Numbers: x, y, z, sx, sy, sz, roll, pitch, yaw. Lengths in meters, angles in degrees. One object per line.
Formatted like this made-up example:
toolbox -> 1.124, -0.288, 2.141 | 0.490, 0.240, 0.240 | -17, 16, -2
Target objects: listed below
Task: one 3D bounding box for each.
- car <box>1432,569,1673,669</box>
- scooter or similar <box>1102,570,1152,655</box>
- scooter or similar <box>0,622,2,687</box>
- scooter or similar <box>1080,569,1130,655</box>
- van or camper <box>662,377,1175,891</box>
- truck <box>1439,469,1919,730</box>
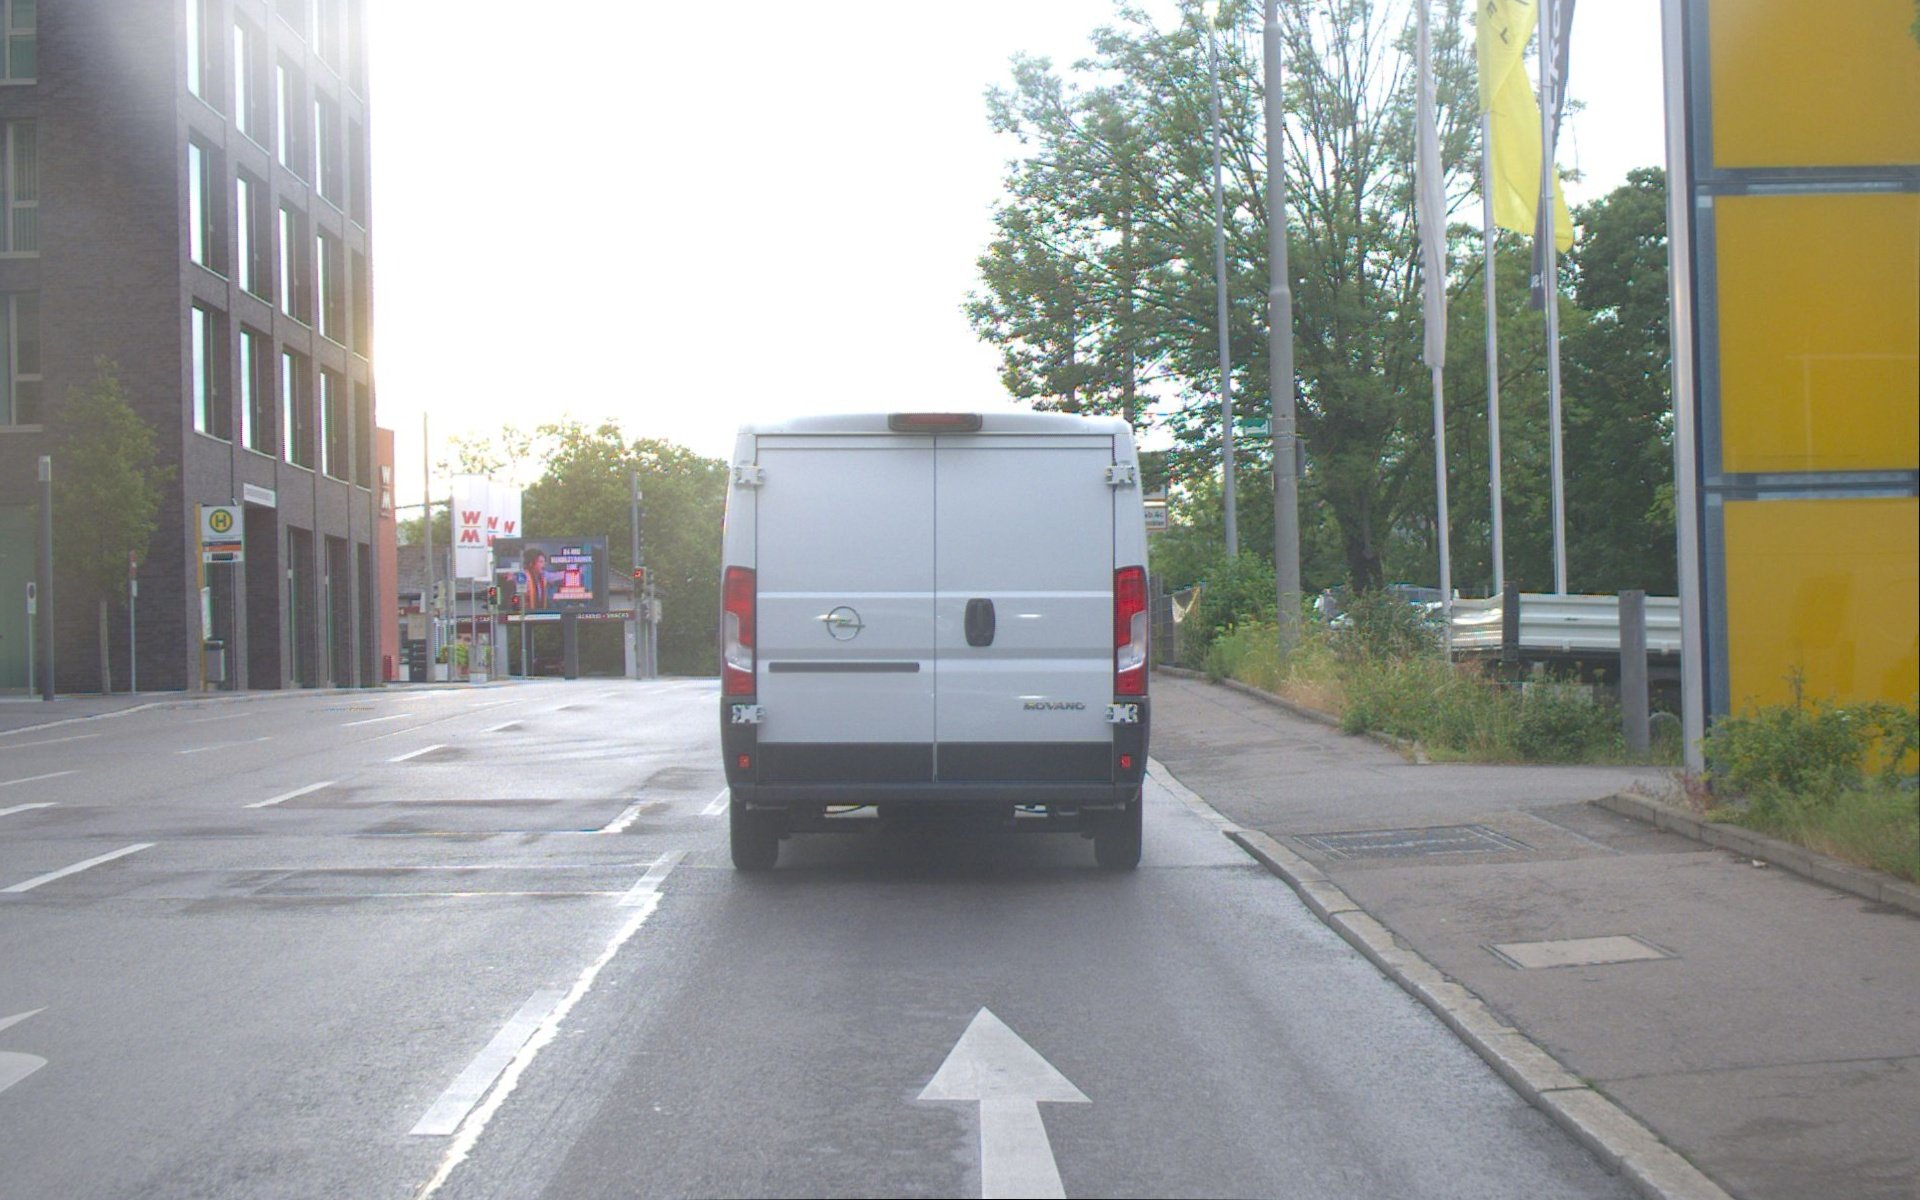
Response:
car -> 10.984, 0.344, 63.896 | 3.986, 1.516, 1.804 | -5, 1, -5
scooter or similar -> 3.117, 0.226, 64.254 | 0.434, 1.559, 1.273 | 0, 1, -22
scooter or similar -> -16.044, 0.886, 56.249 | 0.351, 1.068, 1.428 | 0, -1, 0
scooter or similar -> 2.700, 0.218, 64.077 | 0.434, 1.582, 1.273 | 0, 1, -23
van or camper -> -0.180, 0.118, 18.328 | 2.340, 2.349, 5.199 | 0, 1, 0
truck -> 6.631, -0.032, 27.737 | 5.147, 2.007, 2.345 | 0, 1, -2
